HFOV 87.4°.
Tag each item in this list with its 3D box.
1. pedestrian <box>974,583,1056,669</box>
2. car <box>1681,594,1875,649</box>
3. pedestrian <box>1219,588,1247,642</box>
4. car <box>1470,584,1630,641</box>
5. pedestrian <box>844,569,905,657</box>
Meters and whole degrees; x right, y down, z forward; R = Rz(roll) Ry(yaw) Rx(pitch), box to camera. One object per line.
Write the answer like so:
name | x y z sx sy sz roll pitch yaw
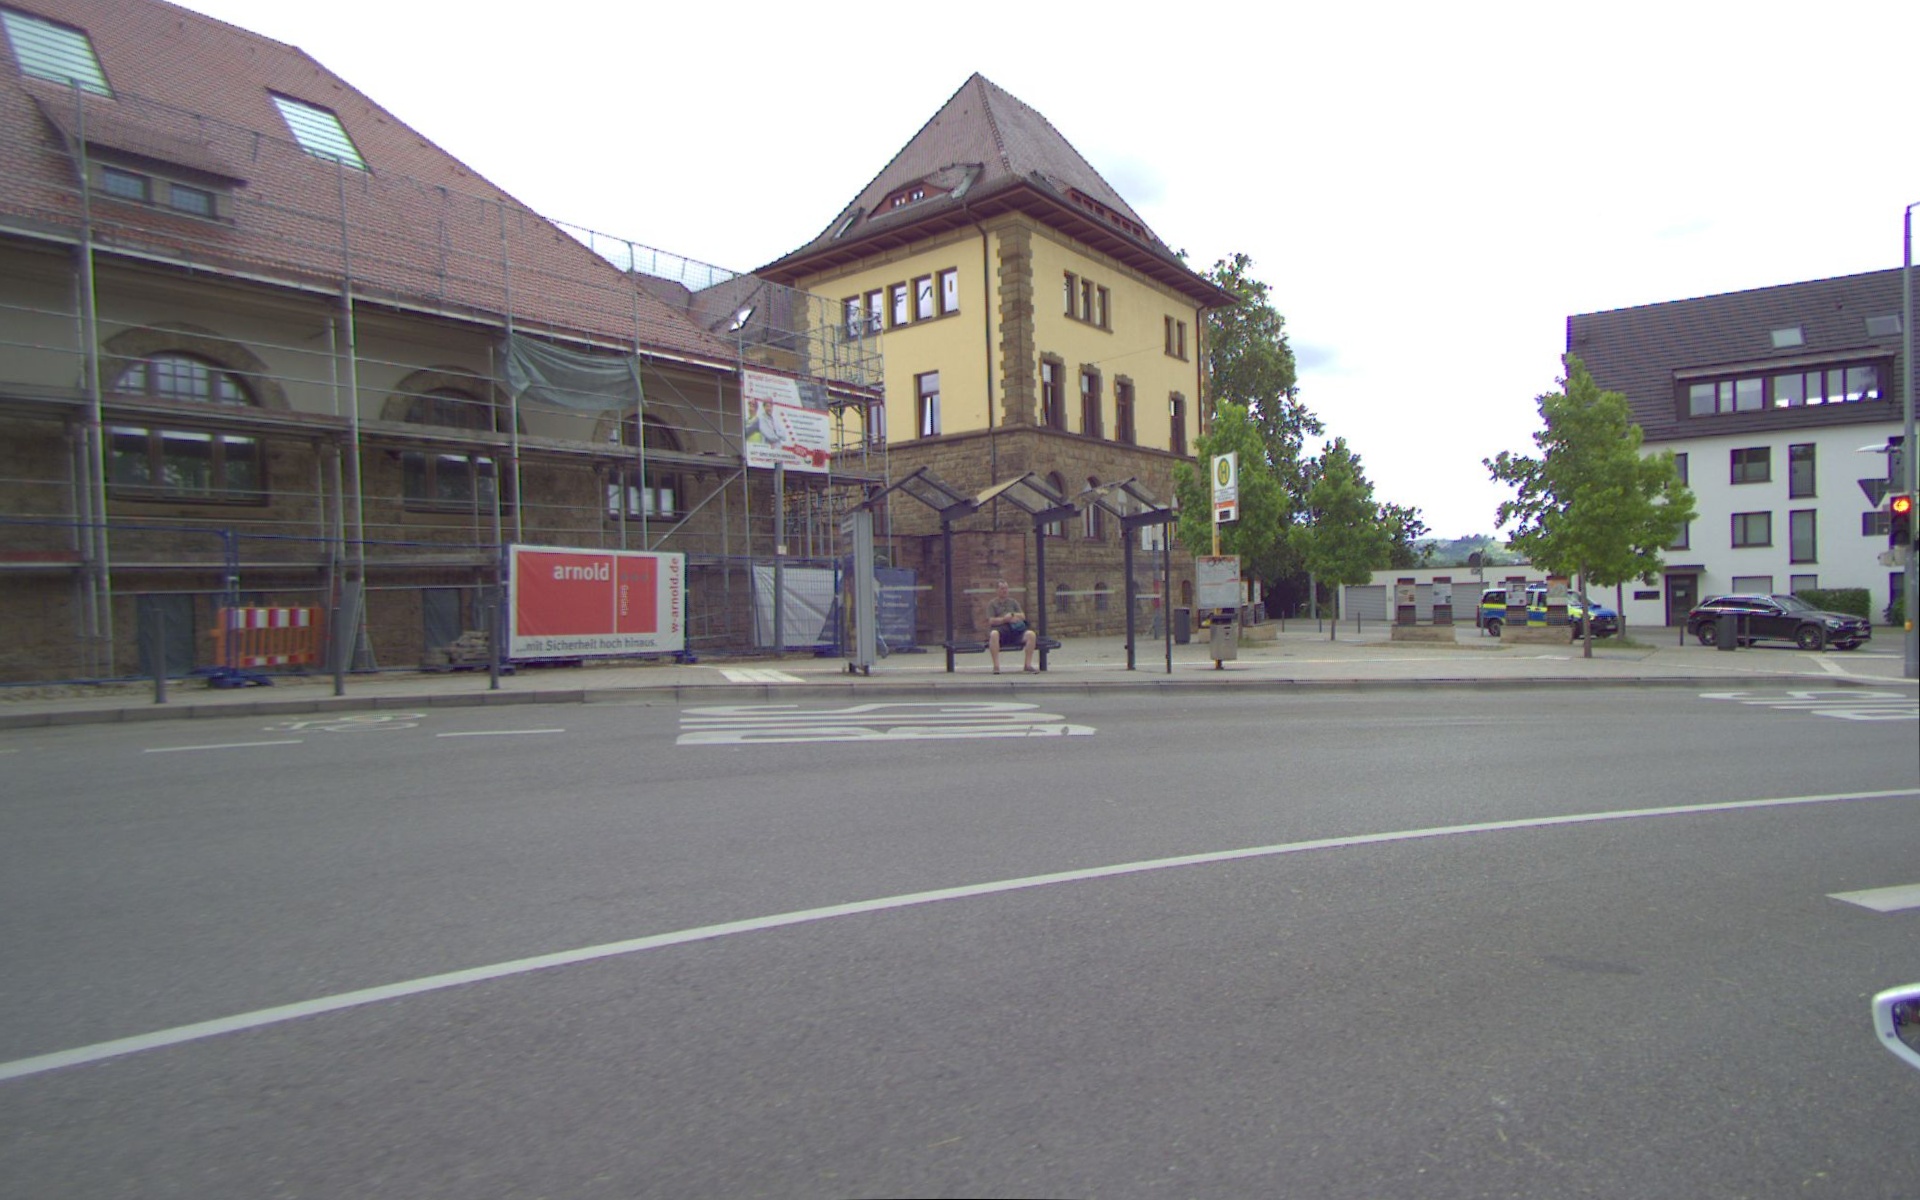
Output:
pedestrian | 0.804 0.389 14.825 0.892 1.208 0.930 1 -2 -23
car | 25.192 0.634 31.135 1.969 1.533 4.255 1 0 -19
pedestrian | 8.343 0.454 30.706 0.647 1.598 0.534 1 1 -36
car | 22.395 0.421 38.363 1.972 2.040 5.061 1 0 -24
pedestrian | -1.740 0.253 20.489 0.912 1.743 0.794 2 1 41
